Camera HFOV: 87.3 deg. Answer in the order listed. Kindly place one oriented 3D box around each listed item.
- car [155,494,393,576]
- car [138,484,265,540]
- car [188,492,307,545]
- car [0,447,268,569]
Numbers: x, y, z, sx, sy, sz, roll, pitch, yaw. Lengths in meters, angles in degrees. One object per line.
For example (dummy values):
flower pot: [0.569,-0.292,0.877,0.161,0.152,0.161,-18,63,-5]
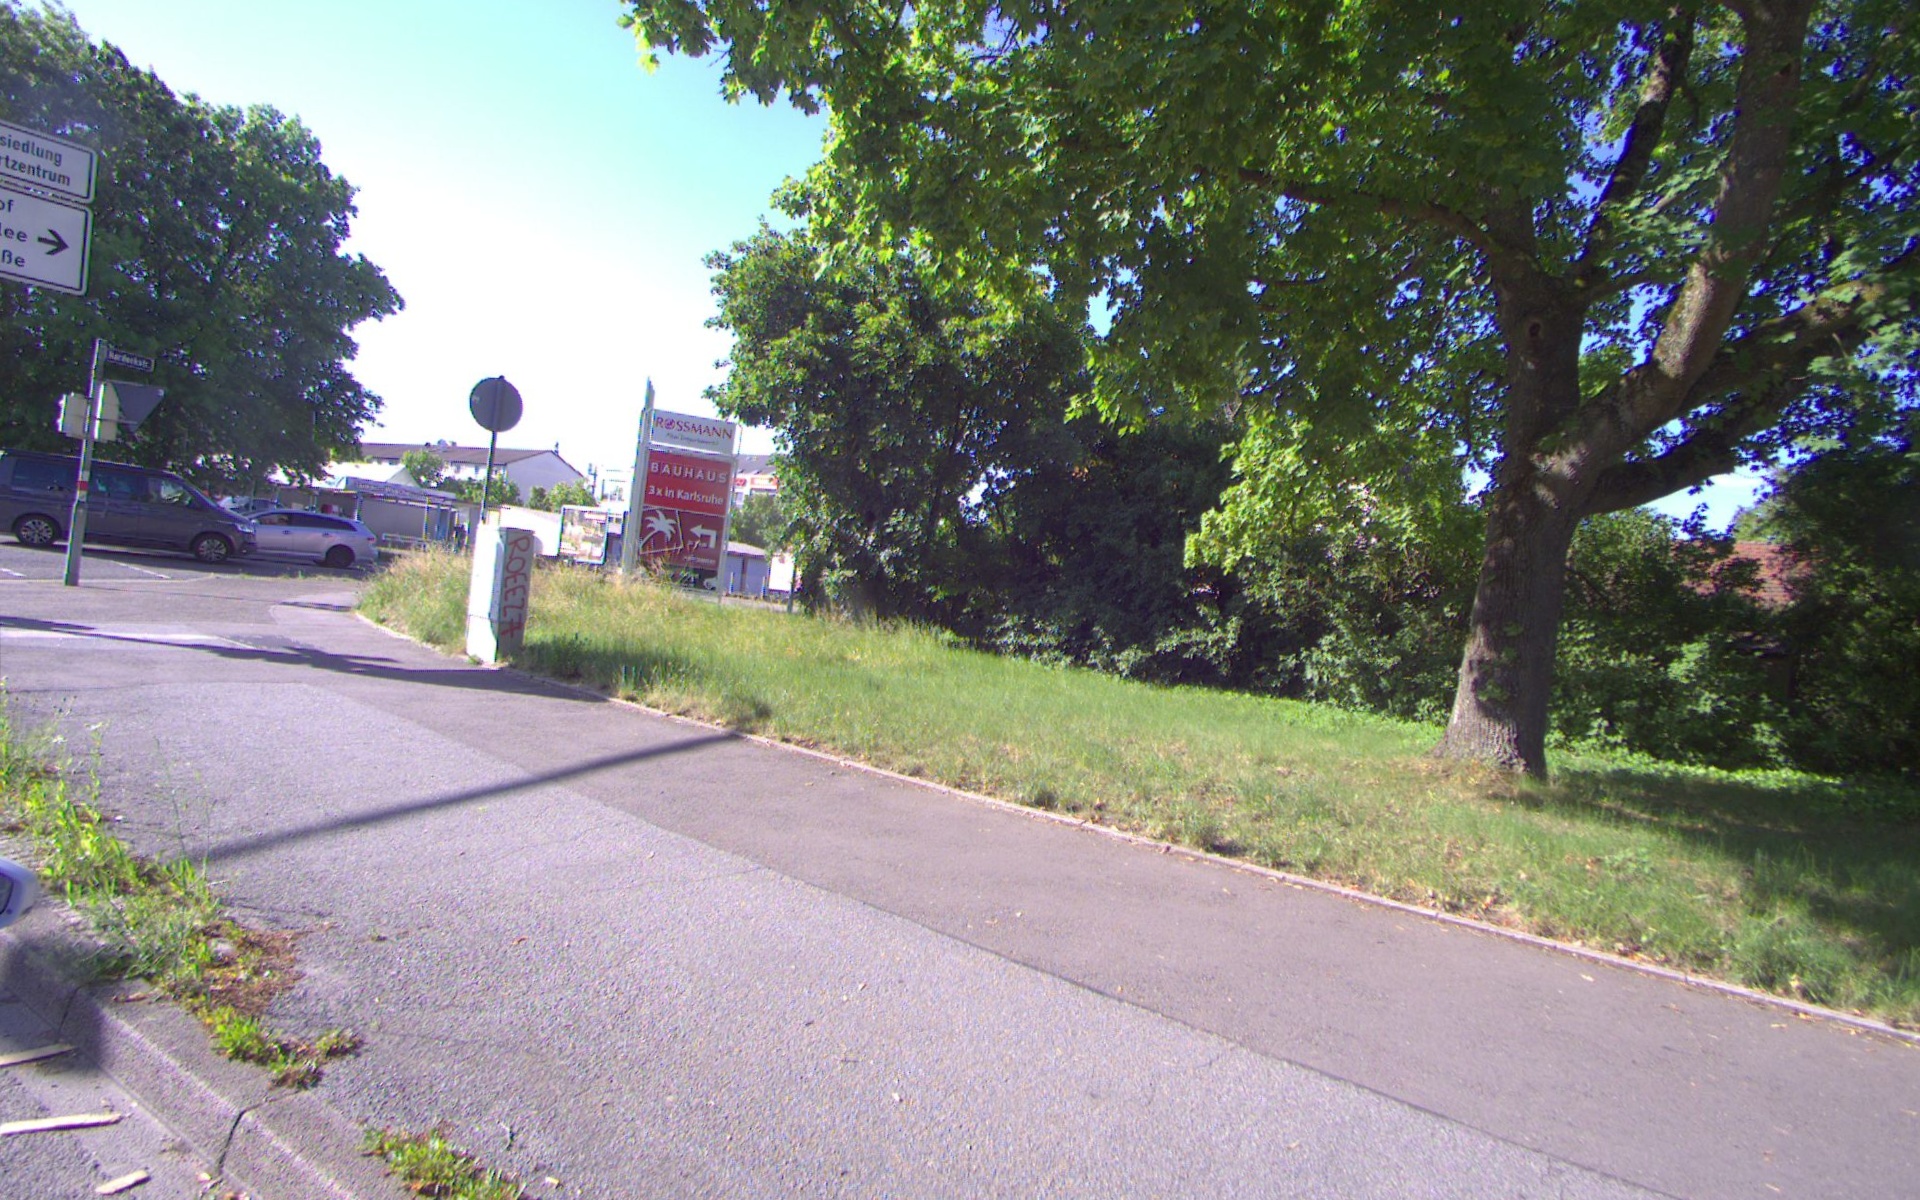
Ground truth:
car: [-18.644,-1.735,27.529,1.973,1.504,4.994,7,0,43]
car: [-32.333,-3.716,43.039,1.962,1.772,4.000,7,1,9]
car: [-30.292,-3.427,42.920,1.712,1.701,4.001,7,0,9]
car: [-18.840,-2.020,22.776,4.977,2.017,1.896,7,1,-40]
